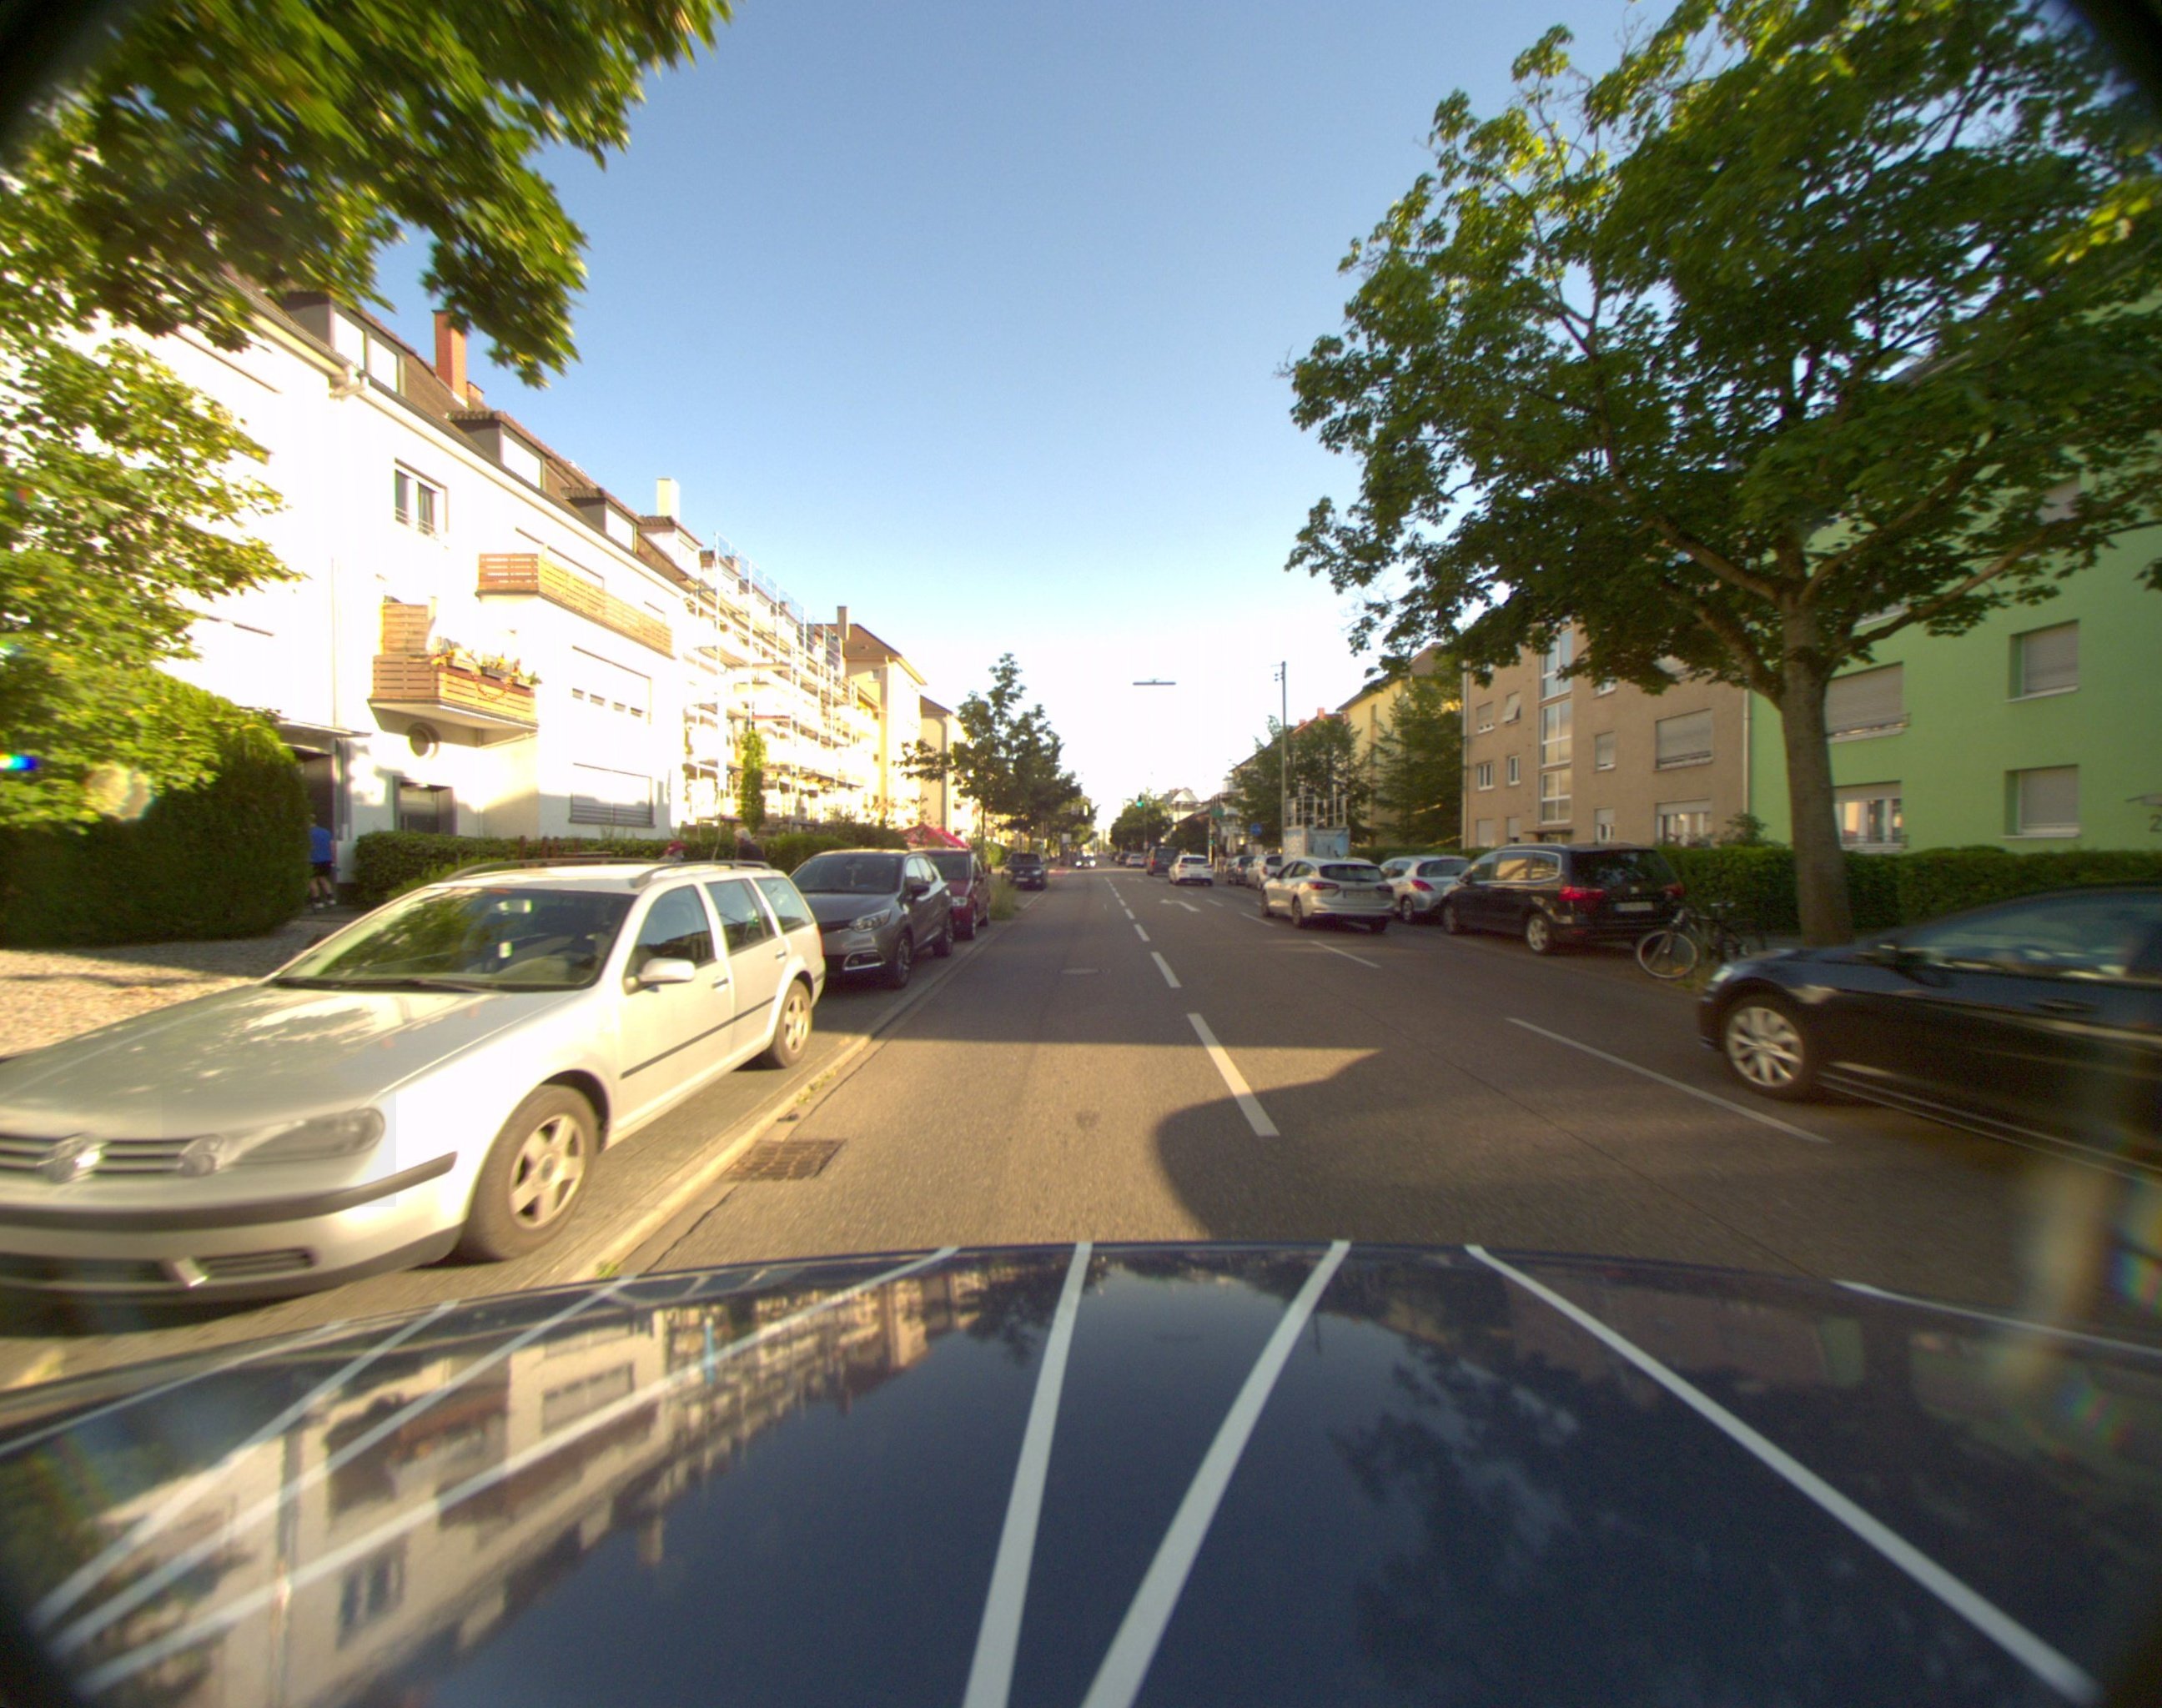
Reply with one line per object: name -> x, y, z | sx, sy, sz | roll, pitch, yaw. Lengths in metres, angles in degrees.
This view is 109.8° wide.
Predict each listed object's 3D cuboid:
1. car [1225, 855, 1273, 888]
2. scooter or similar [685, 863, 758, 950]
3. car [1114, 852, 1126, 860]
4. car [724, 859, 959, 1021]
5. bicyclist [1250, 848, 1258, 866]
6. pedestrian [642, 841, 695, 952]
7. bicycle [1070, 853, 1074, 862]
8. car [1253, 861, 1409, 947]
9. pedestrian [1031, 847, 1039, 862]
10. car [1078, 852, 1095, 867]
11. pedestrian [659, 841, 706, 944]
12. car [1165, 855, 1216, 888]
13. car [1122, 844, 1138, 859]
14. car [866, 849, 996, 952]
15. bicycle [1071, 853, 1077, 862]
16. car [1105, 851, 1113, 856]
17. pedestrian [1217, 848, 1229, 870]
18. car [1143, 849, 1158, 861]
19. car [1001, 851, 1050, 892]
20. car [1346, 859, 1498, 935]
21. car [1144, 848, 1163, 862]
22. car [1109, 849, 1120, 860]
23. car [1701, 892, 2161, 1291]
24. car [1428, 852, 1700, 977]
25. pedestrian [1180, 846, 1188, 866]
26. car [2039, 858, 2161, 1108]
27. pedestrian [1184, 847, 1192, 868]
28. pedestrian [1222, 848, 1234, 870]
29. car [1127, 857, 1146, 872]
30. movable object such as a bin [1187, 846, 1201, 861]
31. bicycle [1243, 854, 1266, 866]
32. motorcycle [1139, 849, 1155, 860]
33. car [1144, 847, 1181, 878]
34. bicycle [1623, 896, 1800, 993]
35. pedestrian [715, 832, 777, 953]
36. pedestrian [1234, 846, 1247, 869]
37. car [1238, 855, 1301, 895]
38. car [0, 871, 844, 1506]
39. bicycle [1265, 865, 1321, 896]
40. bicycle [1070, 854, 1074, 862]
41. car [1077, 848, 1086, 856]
car -> 8.234, 0.831, 37.533 | 1.657, 1.471, 3.943 | 0, 0, 2
scooter or similar -> -5.677, 0.812, 12.021 | 0.748, 1.309, 0.721 | -1, 1, 8
car -> 6.483, 0.265, 127.226 | 1.845, 1.312, 4.441 | 0, 1, 2
car -> -2.715, 0.870, 9.592 | 1.641, 1.559, 4.000 | 1, 0, 1
bicyclist -> 16.082, 0.296, 70.570 | 0.672, 1.643, 0.751 | 0, 0, 11
pedestrian -> -6.422, 0.645, 11.846 | 0.512, 1.687, 0.527 | -1, 1, -4
bicycle -> -1.110, 0.400, 91.203 | 0.325, 1.138, 1.799 | -1, 1, -4
car -> 5.177, 0.952, 16.409 | 1.837, 1.462, 4.451 | 2, 0, 0
pedestrian -> -5.116, 0.076, 84.531 | 0.830, 1.673, 0.660 | 0, 1, 5
car -> 0.545, 0.572, 78.310 | 1.641, 1.482, 4.415 | 1, 0, 0
pedestrian -> -6.689, 0.634, 12.770 | 0.512, 1.687, 0.527 | -1, 1, -4
car -> 5.298, 0.827, 37.088 | 1.820, 1.438, 4.109 | 2, 0, -1
car -> 6.389, -0.319, 100.085 | 1.866, 1.819, 5.227 | 1, 1, 2
car -> -2.686, 0.748, 14.648 | 1.726, 1.646, 4.596 | -1, 0, -2
bicycle -> -0.862, 0.395, 96.855 | 0.324, 1.138, 1.802 | 0, 1, 14
car -> 8.944, -0.234, 241.945 | 1.843, 1.604, 4.406 | -1, 1, -6
pedestrian -> 10.361, 0.376, 55.571 | 0.608, 1.585, 0.749 | -4, 2, -2
car -> 9.154, 0.101, 99.844 | 1.755, 1.526, 3.572 | 0, 1, 2
car -> -2.315, 0.699, 32.679 | 1.796, 1.622, 4.029 | 1, 0, 0
car -> 7.922, 0.921, 18.108 | 1.687, 1.512, 4.190 | -1, 0, -1
car -> 9.065, 0.123, 95.366 | 1.810, 1.604, 3.950 | -1, 1, -2
car -> 6.336, 0.074, 143.919 | 1.842, 1.866, 4.409 | -1, 1, 0
car -> 4.980, 0.986, 3.030 | 1.704, 1.395, 4.027 | 1, 0, 0
car -> 7.819, 0.848, 12.961 | 1.788, 1.723, 4.617 | 0, 0, 1
pedestrian -> 10.092, 0.212, 74.521 | 0.639, 2.002, 0.739 | 0, 1, 2
car -> 7.721, 0.845, 4.126 | 1.502, 1.607, 2.862 | -1, 1, 4
pedestrian -> 10.247, 0.325, 72.975 | 0.645, 2.002, 0.814 | -1, 2, 2
pedestrian -> 11.081, 0.364, 57.159 | 0.750, 1.648, 0.608 | -1, 1, -6
car -> 6.127, 1.161, 84.215 | 1.841, 1.465, 4.671 | 1, 0, 1
movable object such as a bin -> 13.209, -0.063, 88.847 | 1.309, 1.649, 1.180 | -4, 2, 0
bicycle -> 16.115, 0.592, 70.568 | 1.996, 1.083, 0.728 | 0, 0, 11
motorcycle -> 9.062, 0.040, 104.494 | 1.263, 1.526, 2.887 | -1, 1, -13
car -> 5.578, 0.546, 52.469 | 1.998, 1.935, 4.777 | 2, 1, 1
bicycle -> 7.773, 1.106, 9.414 | 1.679, 1.083, 0.560 | -2, 1, 2
pedestrian -> -5.250, 0.585, 11.940 | 0.549, 1.839, 0.765 | -1, 1, 8
pedestrian -> 11.835, 0.251, 56.436 | 0.607, 1.620, 0.751 | -3, 2, 38
car -> 7.991, 0.846, 32.566 | 1.641, 1.543, 3.785 | -1, 1, -2
car -> -2.818, 0.909, 4.146 | 1.641, 1.482, 4.415 | 1, 0, 0
bicycle -> 8.316, 1.037, 29.819 | 2.010, 1.083, 0.583 | -2, 1, 2
bicycle -> -1.104, 0.462, 93.711 | 0.325, 0.981, 1.191 | 0, 1, 5
car -> 0.096, -0.434, 157.490 | 1.744, 1.509, 3.811 | 0, 1, 3
